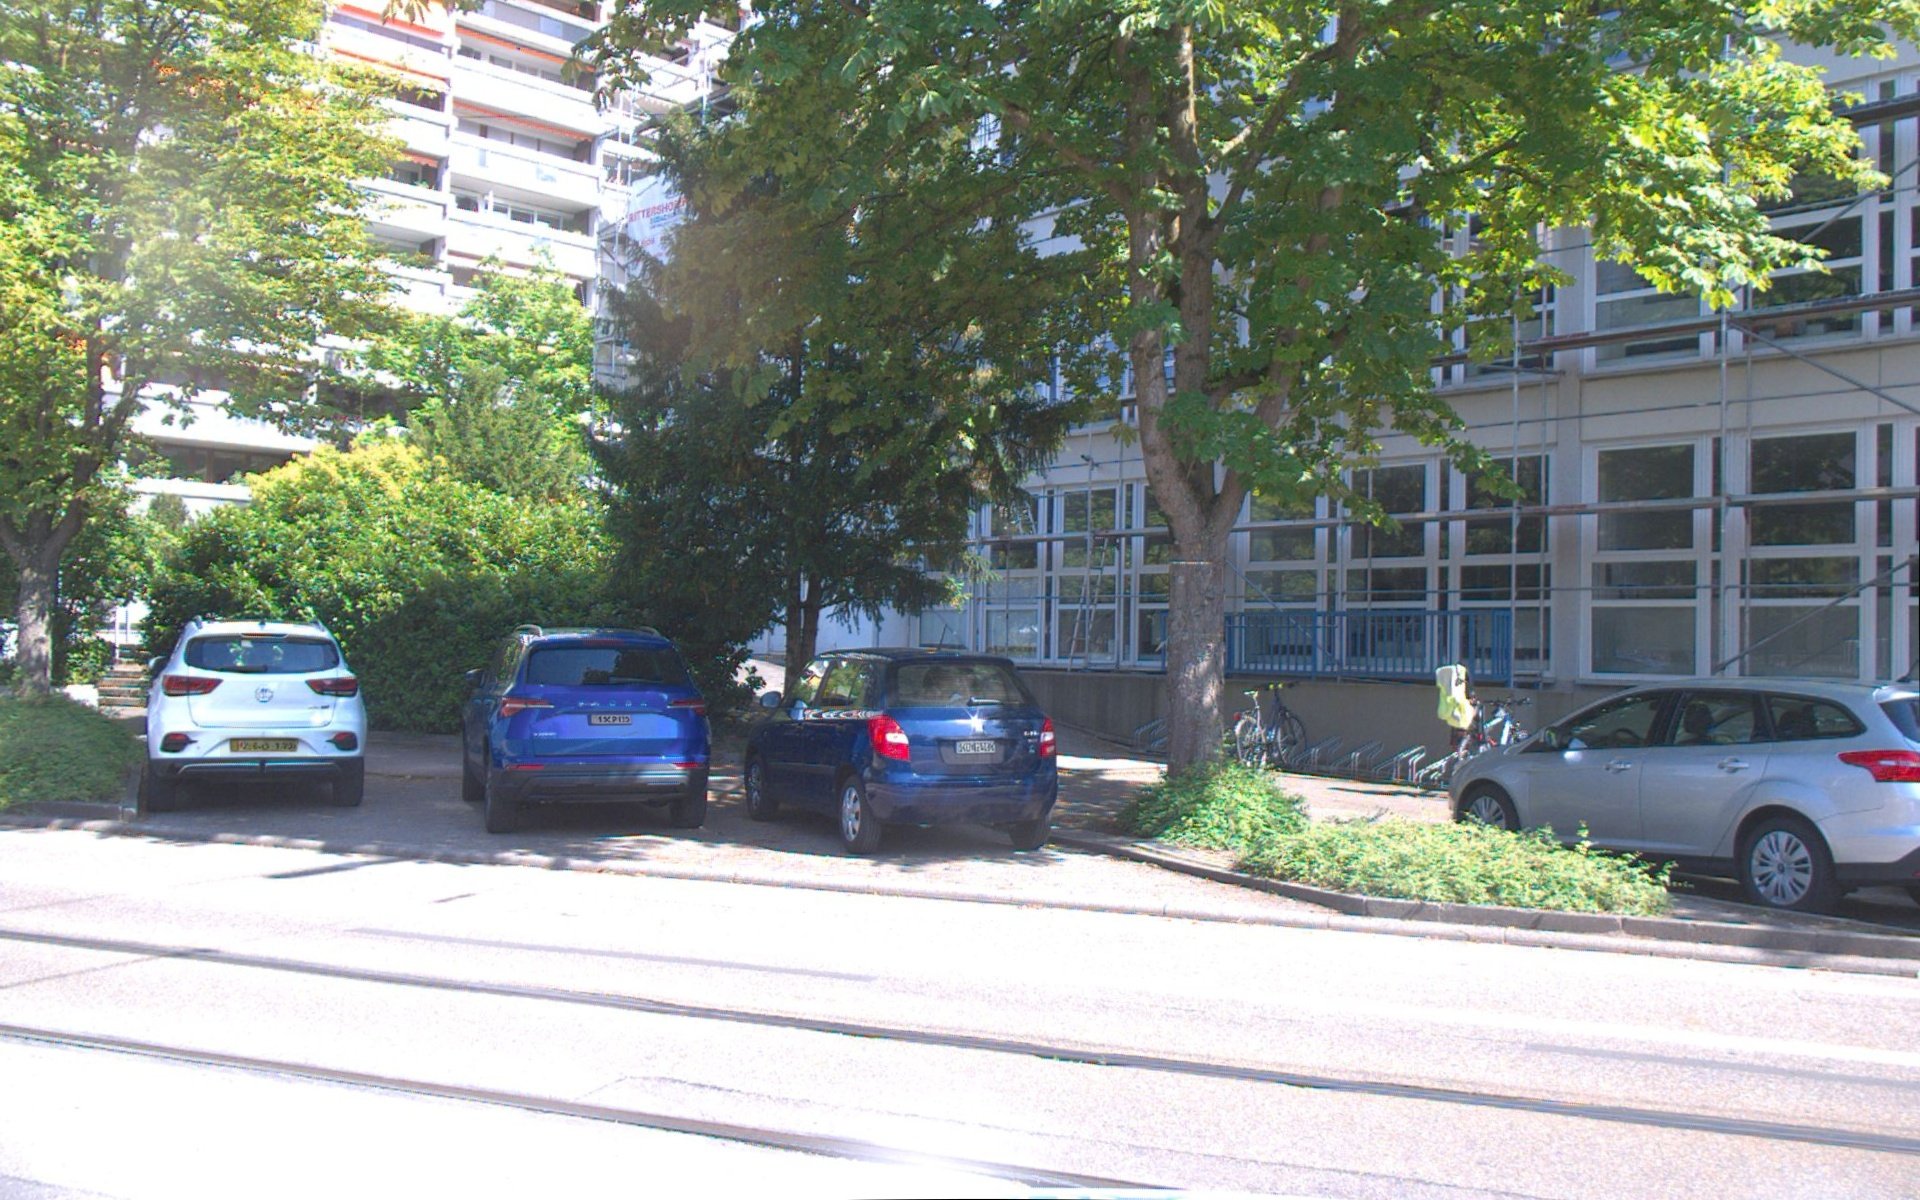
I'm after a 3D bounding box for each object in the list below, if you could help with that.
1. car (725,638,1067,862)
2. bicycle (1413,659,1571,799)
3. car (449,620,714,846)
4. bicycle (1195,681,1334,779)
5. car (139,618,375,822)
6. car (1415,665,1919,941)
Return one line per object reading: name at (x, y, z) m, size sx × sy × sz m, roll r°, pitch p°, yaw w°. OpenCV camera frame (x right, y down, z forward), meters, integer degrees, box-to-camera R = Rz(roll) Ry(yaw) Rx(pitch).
car at (-0.642, 1.119, 13.412) m, size 1.551 × 1.558 × 3.431 m, roll 3°, pitch -3°, yaw -25°
bicycle at (5.948, 1.426, 18.438) m, size 2.069 × 1.479 × 0.654 m, roll 4°, pitch -3°, yaw -39°
car at (-3.433, 1.032, 14.481) m, size 1.749 × 1.651 × 3.921 m, roll 2°, pitch -1°, yaw -20°
bicycle at (3.757, 1.572, 20.242) m, size 0.729 × 1.105 × 2.192 m, roll 0°, pitch -3°, yaw 38°
car at (-6.640, 1.007, 15.402) m, size 1.792 × 1.634 × 3.910 m, roll 0°, pitch -1°, yaw -27°
car at (5.370, 1.262, 11.678) m, size 1.756 × 1.512 × 4.400 m, roll 3°, pitch -3°, yaw -25°
